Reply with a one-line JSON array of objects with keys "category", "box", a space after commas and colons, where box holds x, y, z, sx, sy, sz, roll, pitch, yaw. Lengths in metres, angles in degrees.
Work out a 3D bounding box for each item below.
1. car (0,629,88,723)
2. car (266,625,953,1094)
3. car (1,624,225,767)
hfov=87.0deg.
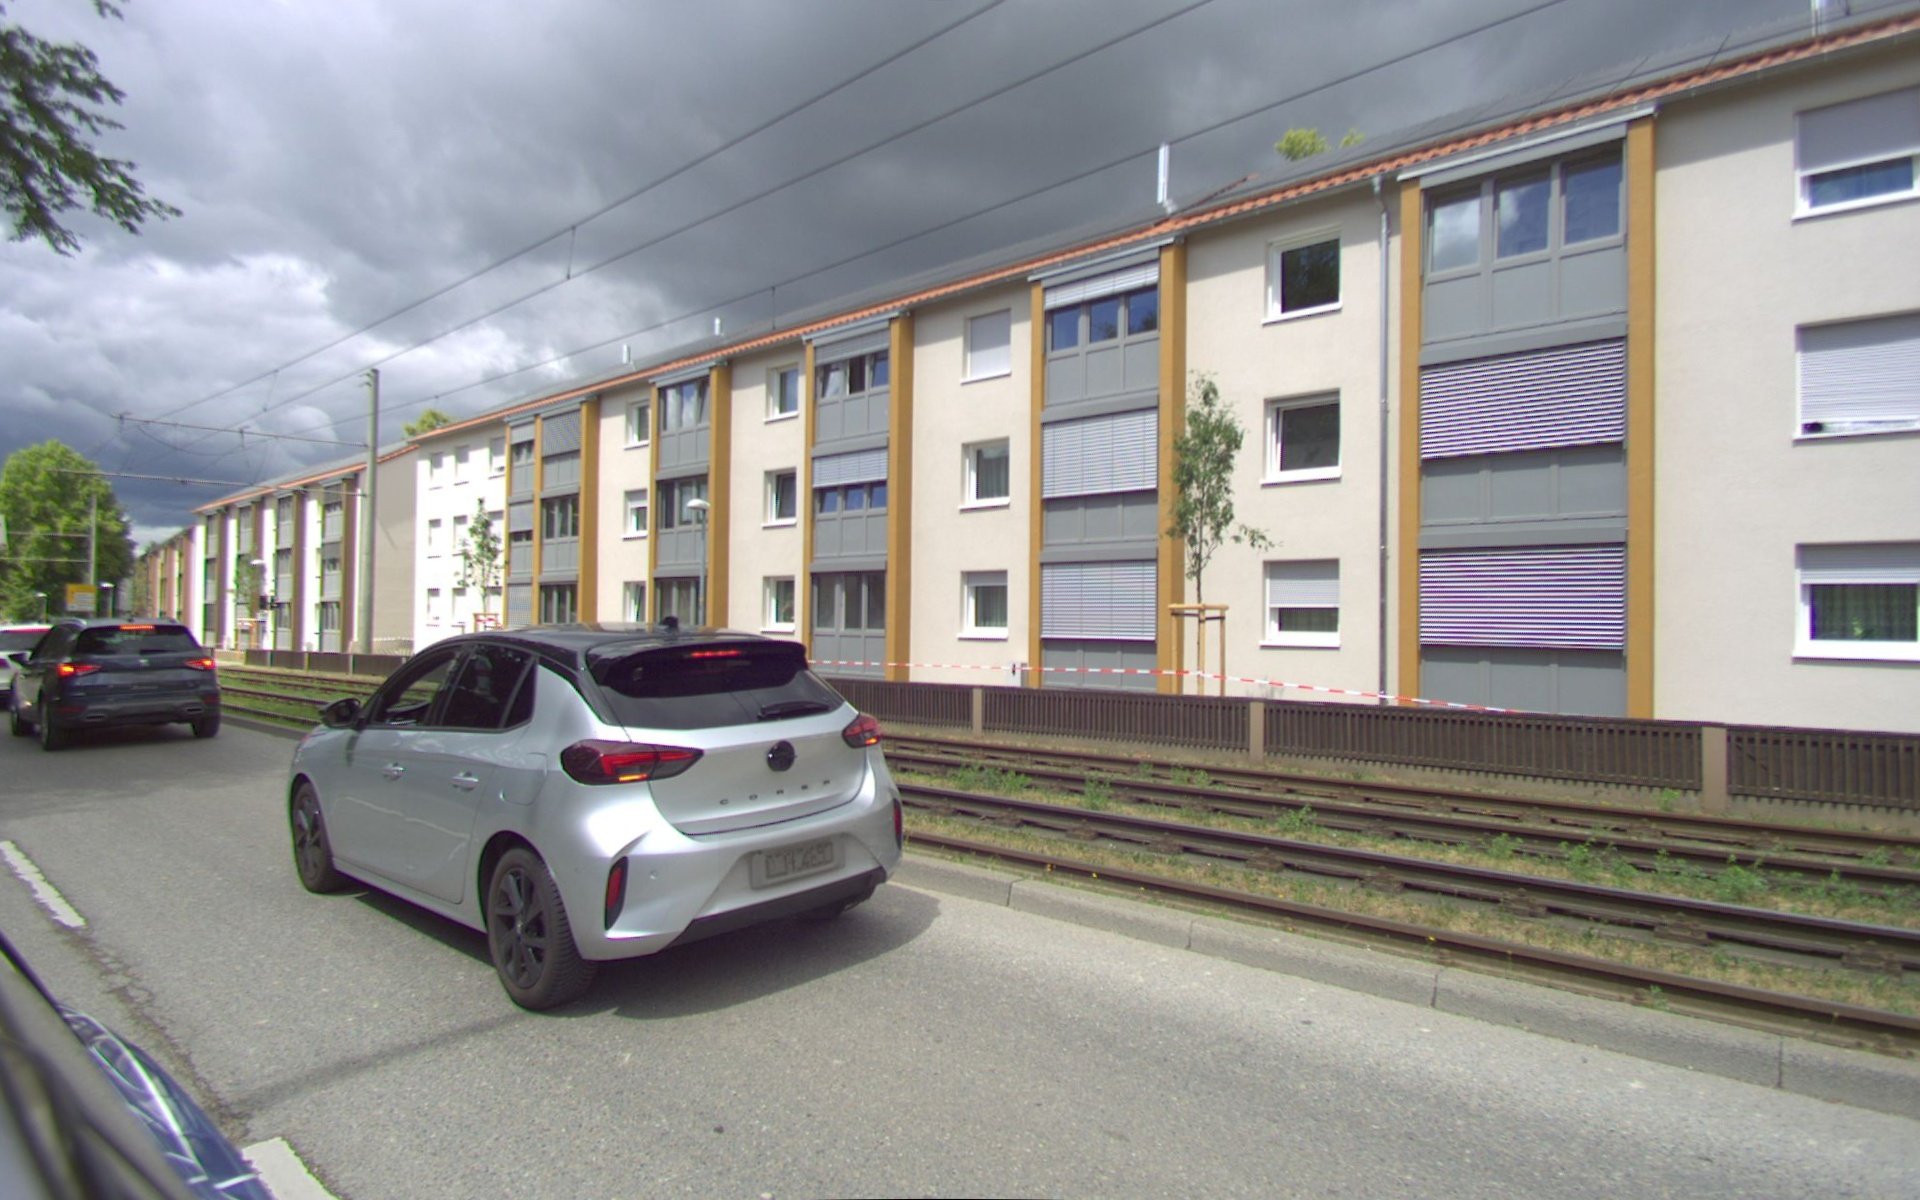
[{"category": "car", "box": [-17.178, 1.316, 18.282, 3.784, 1.533, 1.644, -2, -1, 41]}, {"category": "car", "box": [-1.928, 0.859, 4.983, 3.645, 1.424, 1.592, -1, 0, 41]}, {"category": "car", "box": [-10.952, 1.112, 13.011, 3.677, 1.533, 1.644, -2, -1, 41]}]
